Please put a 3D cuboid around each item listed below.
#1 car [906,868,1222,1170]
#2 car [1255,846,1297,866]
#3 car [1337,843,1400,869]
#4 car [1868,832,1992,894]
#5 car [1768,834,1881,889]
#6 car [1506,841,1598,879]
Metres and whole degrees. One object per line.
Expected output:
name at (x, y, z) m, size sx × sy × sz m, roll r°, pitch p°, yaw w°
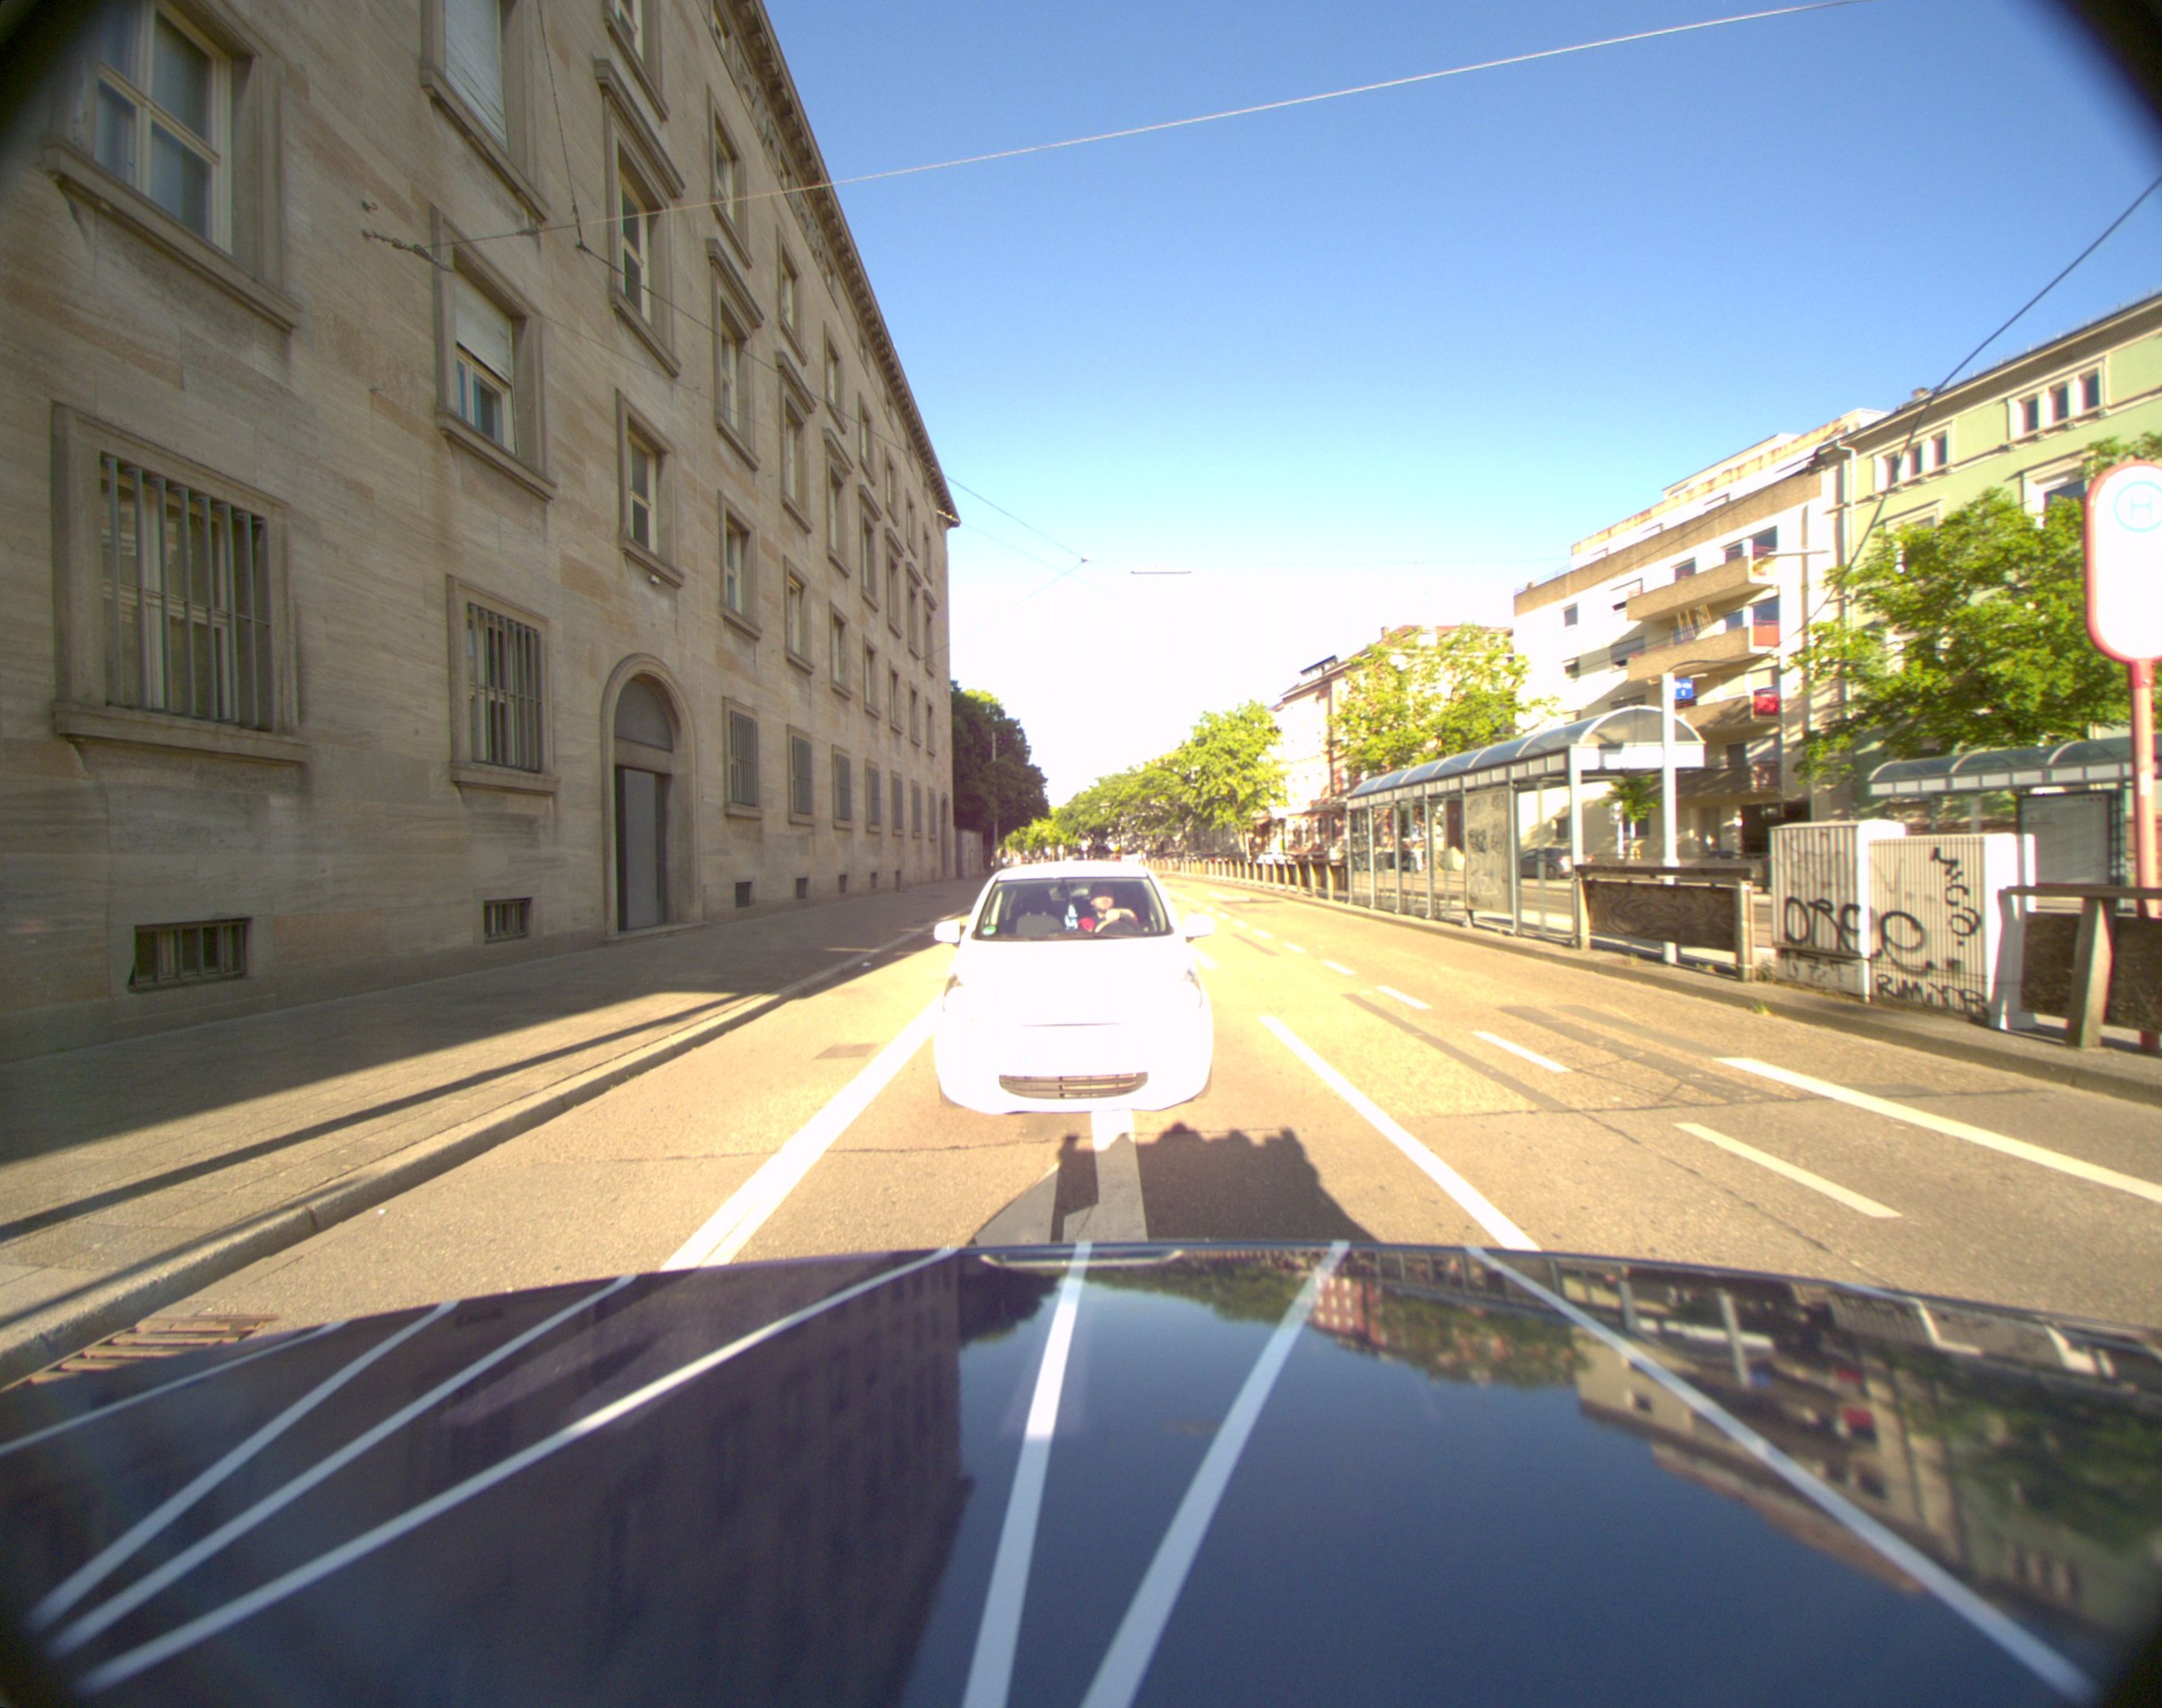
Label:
car at (-0.067, 0.903, 5.815) m, size 1.612 × 1.462 × 3.631 m, roll -2°, pitch 0°, yaw 1°
car at (16.271, 0.149, 63.481) m, size 3.607 × 1.558 × 1.627 m, roll -3°, pitch 1°, yaw -42°
car at (19.555, 0.119, 51.727) m, size 3.599 × 1.558 × 1.630 m, roll -2°, pitch 1°, yaw -7°
car at (24.471, 0.228, 21.894) m, size 3.605 × 1.558 × 1.627 m, roll -3°, pitch 1°, yaw -29°
car at (23.893, 0.222, 24.406) m, size 3.605 × 1.558 × 1.627 m, roll -3°, pitch 1°, yaw -29°
car at (20.925, 0.228, 33.937) m, size 1.631 × 1.558 × 3.598 m, roll -2°, pitch 1°, yaw -5°
